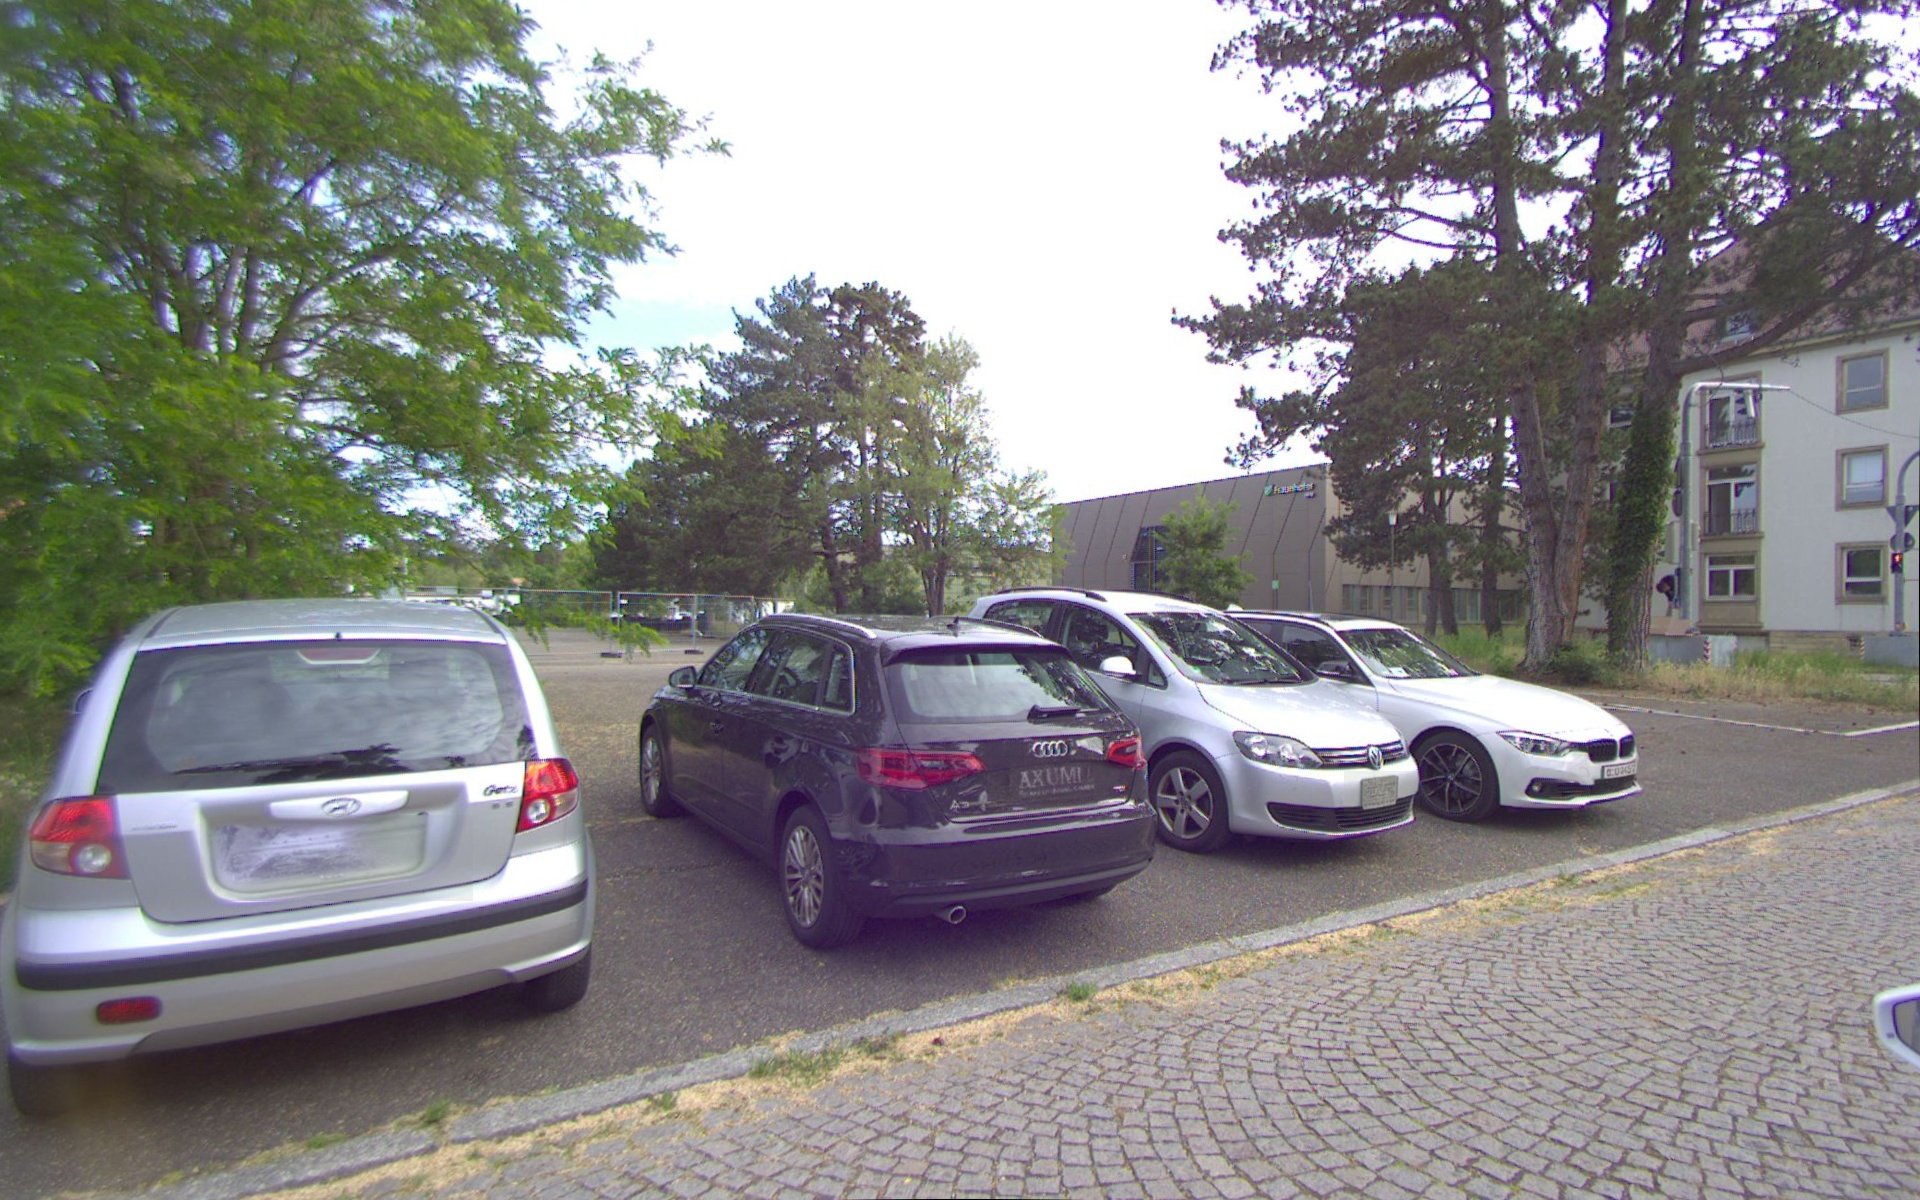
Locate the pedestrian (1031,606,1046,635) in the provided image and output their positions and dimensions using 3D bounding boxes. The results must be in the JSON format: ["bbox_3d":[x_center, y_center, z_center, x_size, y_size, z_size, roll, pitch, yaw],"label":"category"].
[{"bbox_3d":[5.425,1.410,69.379,0.883,2.040,0.922,0,-1,12],"label":"pedestrian"}]

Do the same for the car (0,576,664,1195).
[{"bbox_3d":[-2.790,0.690,4.443,1.790,1.472,3.654,1,2,-34],"label":"car"}]

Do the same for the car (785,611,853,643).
[{"bbox_3d":[-6.543,1.214,46.241,1.678,1.410,3.965,1,-1,-32],"label":"car"}]

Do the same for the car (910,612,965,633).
[{"bbox_3d":[-1.670,1.629,74.992,3.615,1.449,1.985,-1,0,-29],"label":"car"}]

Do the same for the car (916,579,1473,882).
[{"bbox_3d":[1.446,0.691,7.586,1.707,1.568,3.961,1,2,-34],"label":"car"}]

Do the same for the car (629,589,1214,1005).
[{"bbox_3d":[-0.594,0.734,5.912,1.731,1.447,3.966,1,2,-31],"label":"car"}]

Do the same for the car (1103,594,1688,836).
[{"bbox_3d":[3.523,0.764,9.093,1.783,1.463,4.618,1,2,-34],"label":"car"}]
